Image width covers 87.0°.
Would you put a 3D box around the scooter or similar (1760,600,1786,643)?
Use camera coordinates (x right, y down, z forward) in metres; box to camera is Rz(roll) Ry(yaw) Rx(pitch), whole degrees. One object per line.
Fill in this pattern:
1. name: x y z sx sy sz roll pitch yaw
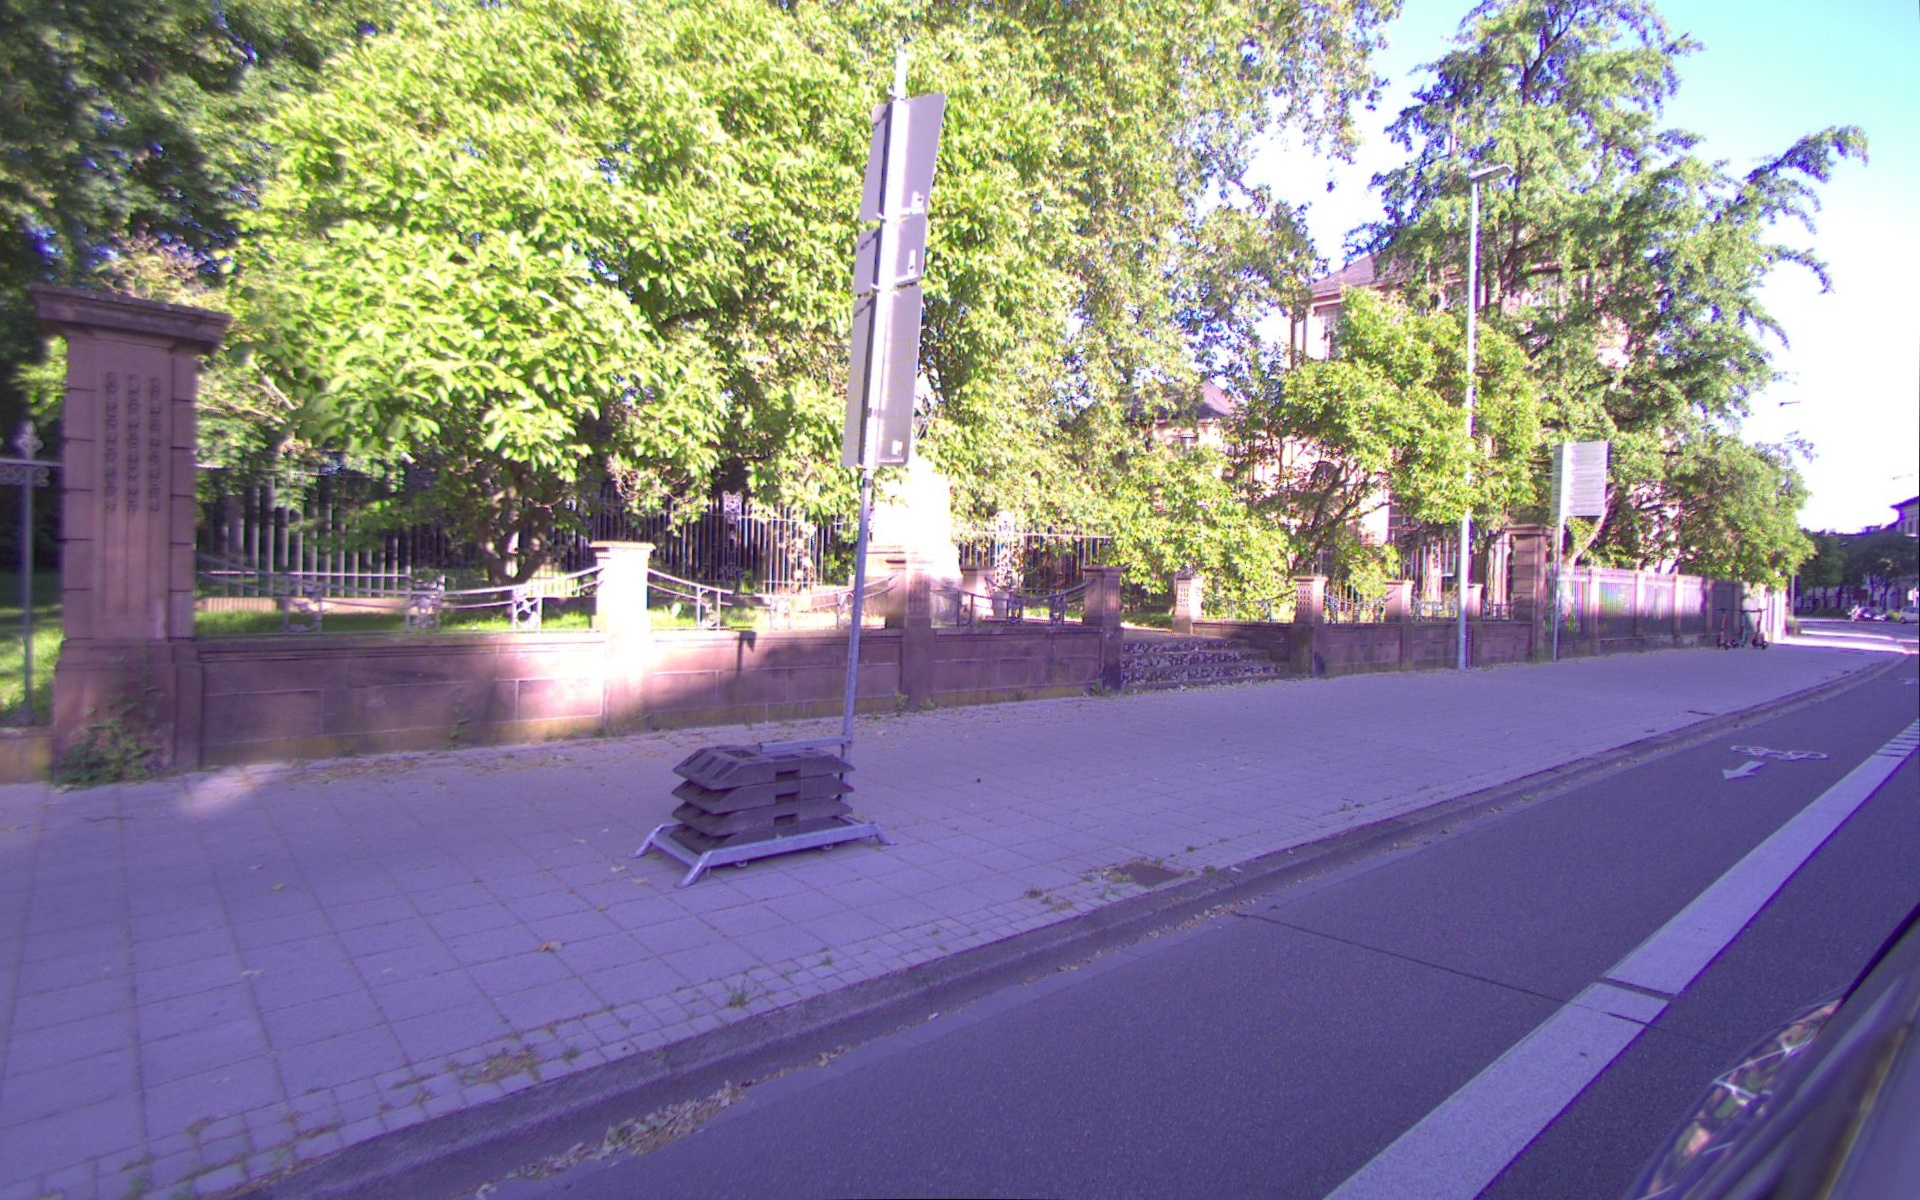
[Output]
1. scooter or similar: 24.721 0.637 30.790 0.514 1.255 1.502 2 2 37

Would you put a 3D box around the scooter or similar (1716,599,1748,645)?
1. scooter or similar: 22.274 0.609 29.217 0.572 1.269 1.470 2 2 33

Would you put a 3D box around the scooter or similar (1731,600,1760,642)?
1. scooter or similar: 23.621 0.626 30.441 0.574 1.199 1.465 3 2 41
